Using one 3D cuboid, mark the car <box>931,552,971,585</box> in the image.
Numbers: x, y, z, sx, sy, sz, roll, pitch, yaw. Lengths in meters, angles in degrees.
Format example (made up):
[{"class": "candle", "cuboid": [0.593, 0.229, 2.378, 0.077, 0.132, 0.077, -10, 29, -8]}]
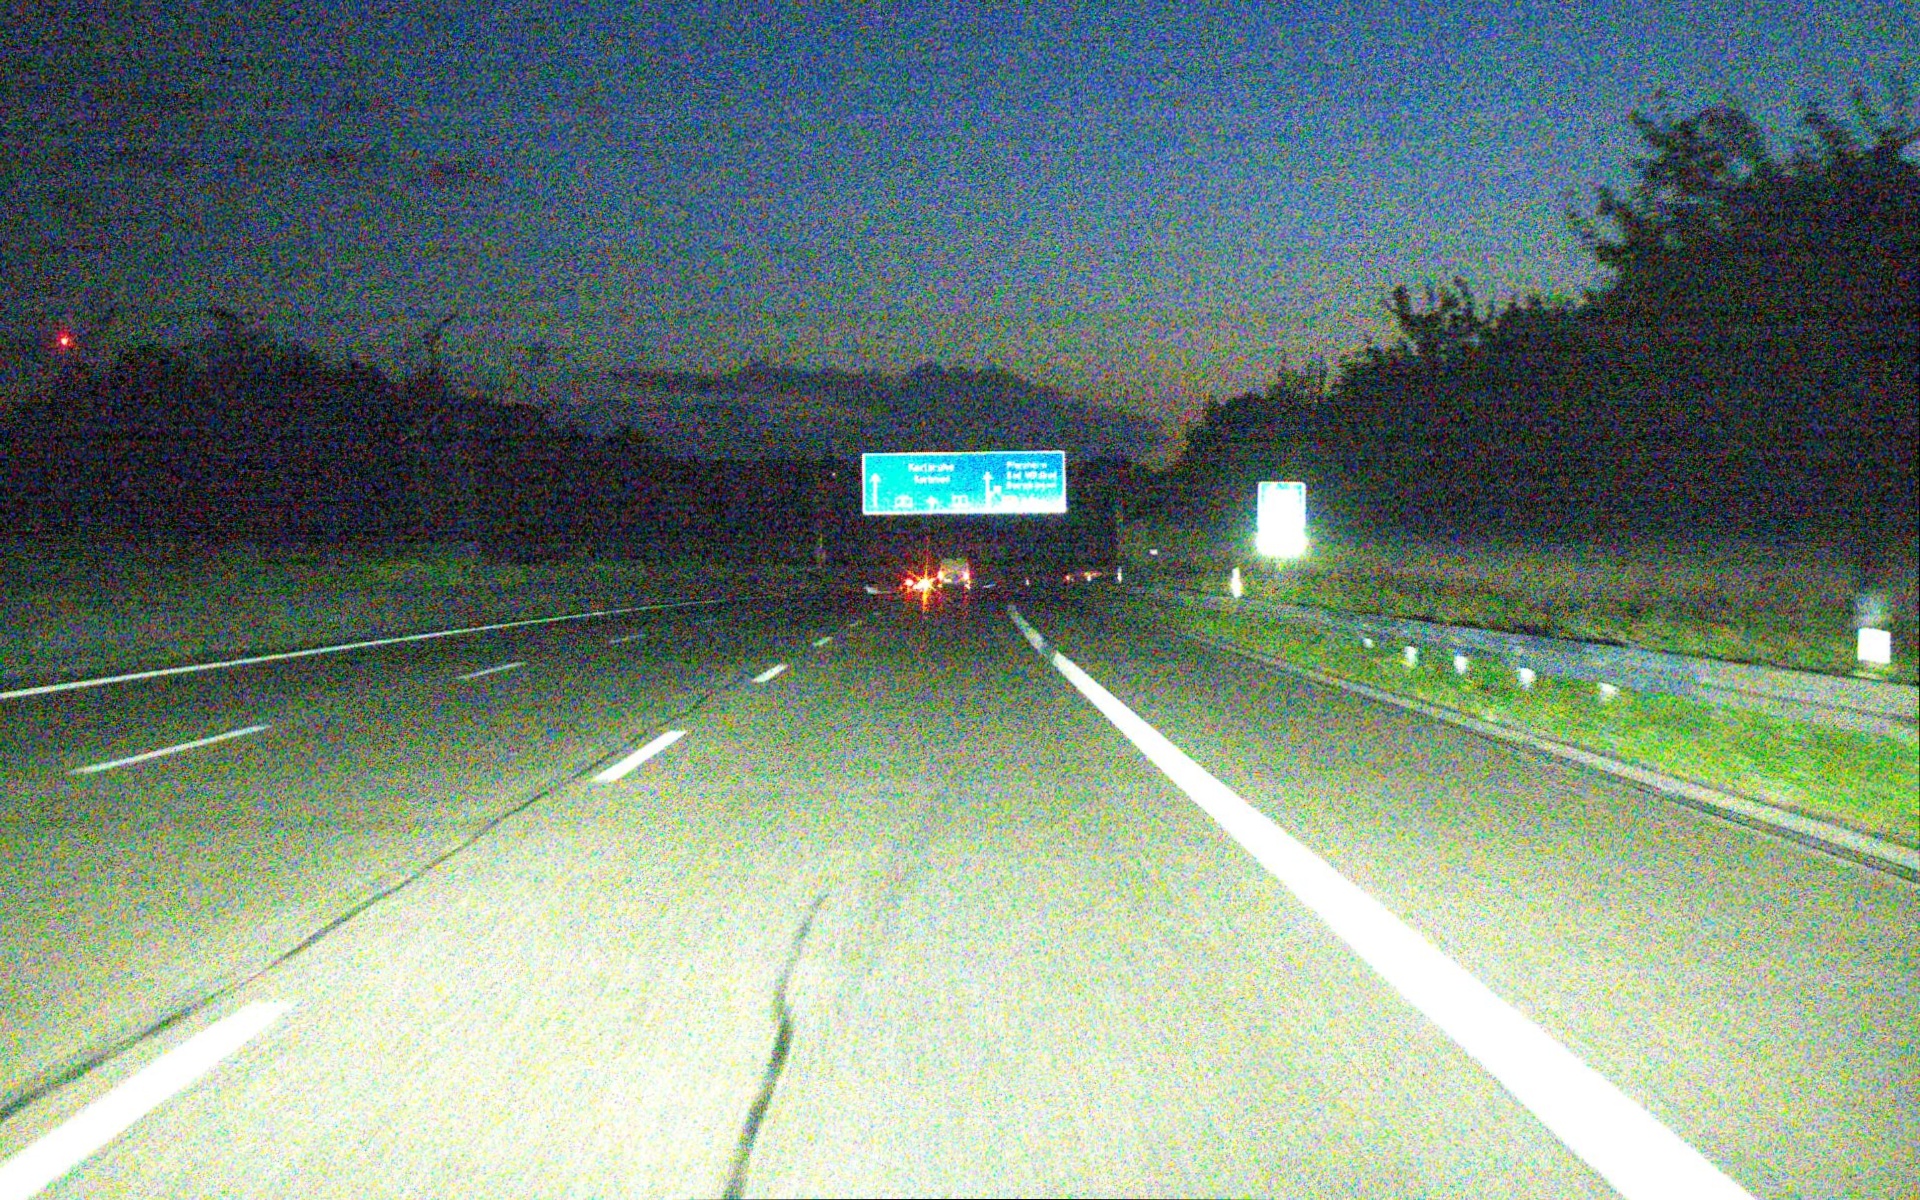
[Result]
[{"class": "car", "cuboid": [-0.615, -2.263, 245.086, 2.511, 2.306, 4.969, 0, 0, 4]}]
